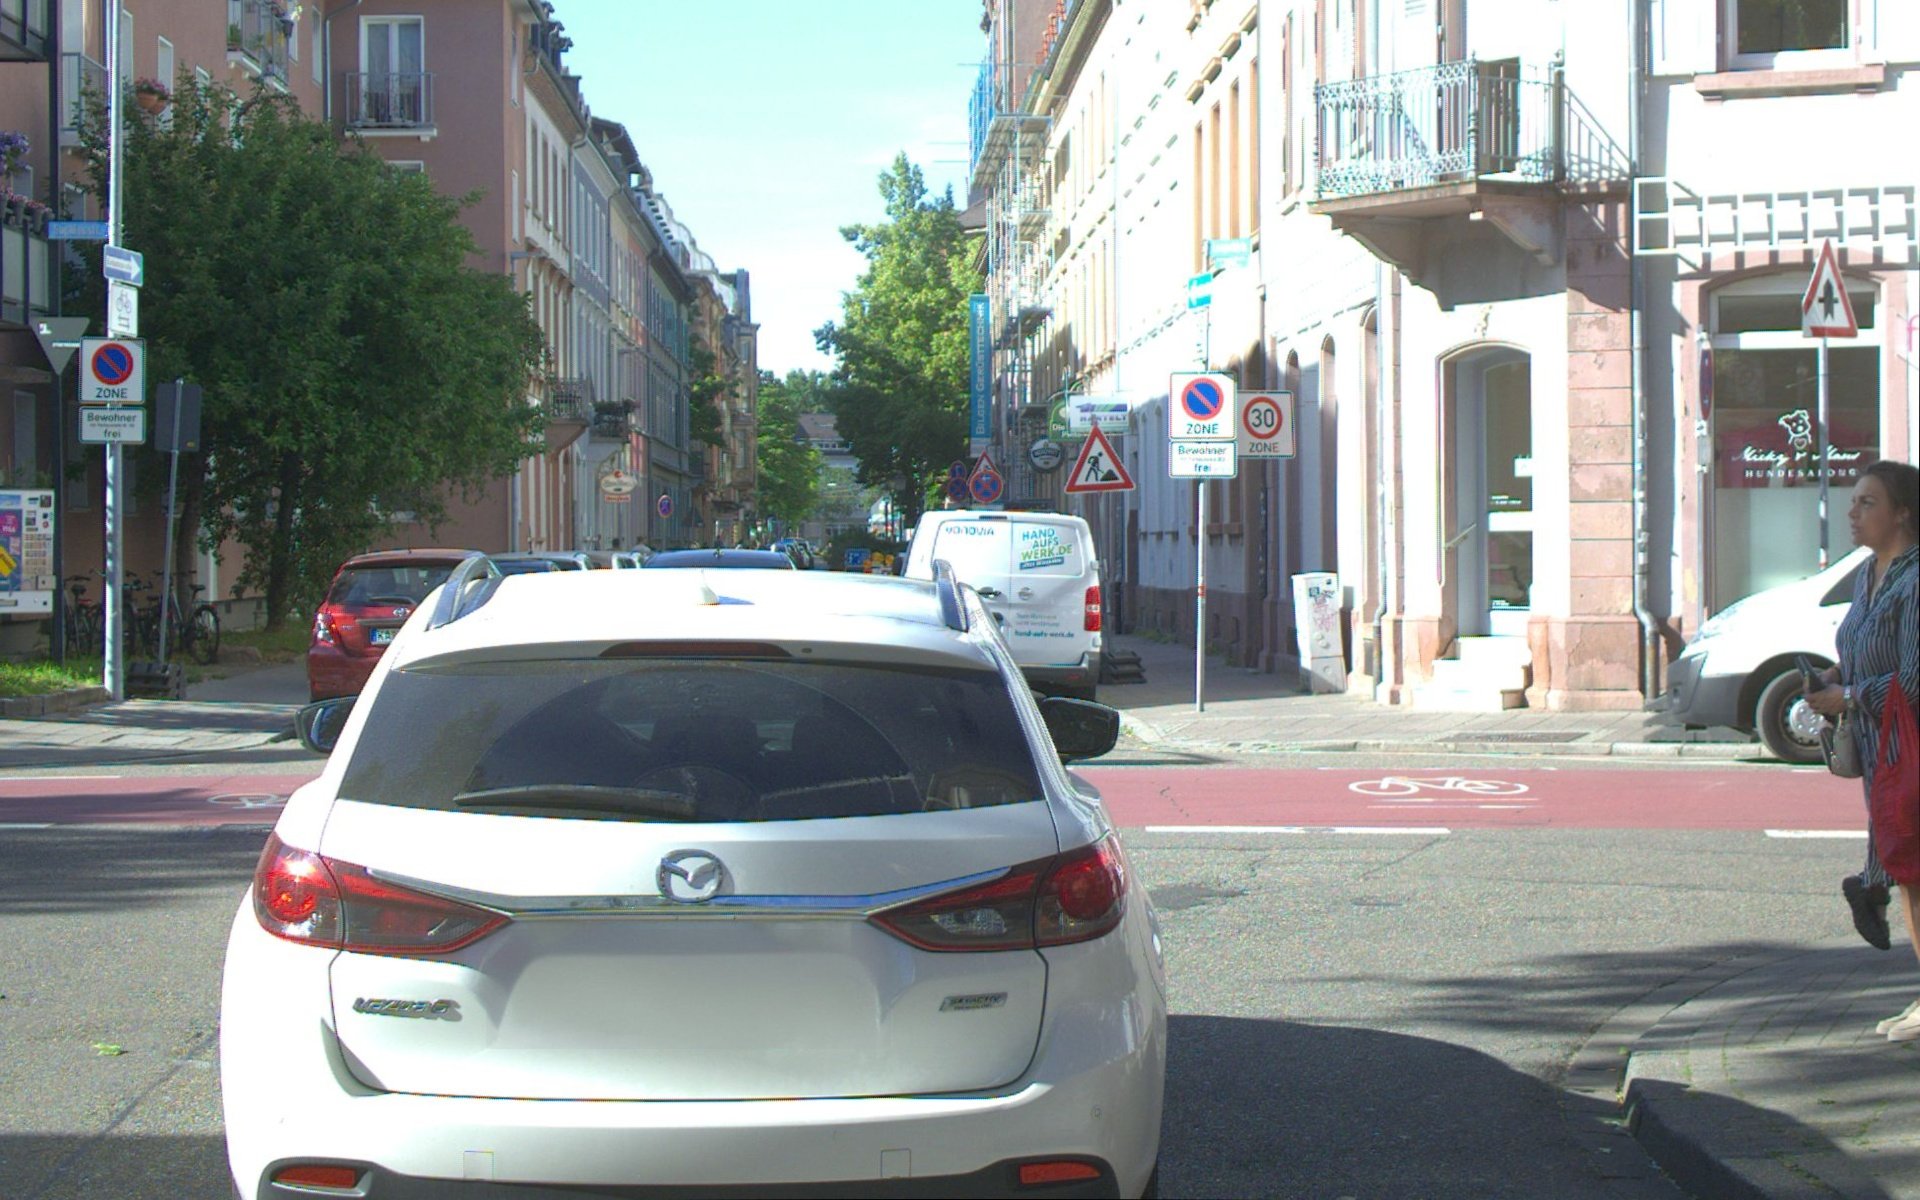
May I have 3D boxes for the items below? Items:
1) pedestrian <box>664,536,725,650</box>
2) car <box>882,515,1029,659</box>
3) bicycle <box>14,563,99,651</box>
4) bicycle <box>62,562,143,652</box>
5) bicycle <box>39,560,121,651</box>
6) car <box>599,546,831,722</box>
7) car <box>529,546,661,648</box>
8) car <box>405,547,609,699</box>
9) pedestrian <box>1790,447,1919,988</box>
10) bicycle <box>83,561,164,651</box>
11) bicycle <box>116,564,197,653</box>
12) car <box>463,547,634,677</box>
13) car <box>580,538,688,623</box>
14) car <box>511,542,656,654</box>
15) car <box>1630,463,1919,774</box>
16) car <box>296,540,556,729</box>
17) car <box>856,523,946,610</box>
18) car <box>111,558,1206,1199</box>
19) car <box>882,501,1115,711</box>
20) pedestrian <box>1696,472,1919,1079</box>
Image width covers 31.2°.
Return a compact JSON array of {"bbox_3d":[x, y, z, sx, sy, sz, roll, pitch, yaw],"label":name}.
[{"bbox_3d":[-3.800,-0.107,49.173,0.733,1.608,0.816,-1,1,-13],"label":"pedestrian"},{"bbox_3d":[-0.077,-0.207,46.334,1.894,1.853,3.995,0,1,-1],"label":"car"},{"bbox_3d":[-10.733,0.077,40.830,1.215,1.032,0.290,1,1,38],"label":"bicycle"},{"bbox_3d":[-10.328,0.075,41.383,1.215,1.067,0.253,1,1,38],"label":"bicycle"},{"bbox_3d":[-10.526,0.059,41.120,1.215,1.068,0.265,1,1,38],"label":"bicycle"},{"bbox_3d":[-2.053,0.240,29.849,1.760,1.405,4.328,0,1,-1],"label":"car"},{"bbox_3d":[-5.528,-0.074,52.355,1.653,1.495,3.763,0,1,-1],"label":"car"},{"bbox_3d":[-4.705,0.197,36.186,1.653,1.495,4.080,0,1,-1],"label":"car"},{"bbox_3d":[3.310,0.376,11.627,0.749,1.758,0.831,-1,0,-1],"label":"pedestrian"},{"bbox_3d":[-10.136,0.066,41.630,1.215,1.068,0.253,1,1,38],"label":"bicycle"},{"bbox_3d":[-9.766,0.096,41.775,1.218,1.068,0.253,1,1,38],"label":"bicycle"},{"bbox_3d":[-4.922,0.111,41.541,1.653,1.495,3.763,0,1,-1],"label":"car"},{"bbox_3d":[-5.899,-0.381,62.528,1.653,1.495,3.763,0,1,-1],"label":"car"},{"bbox_3d":[-5.208,-0.055,47.905,1.653,1.495,3.763,0,1,-1],"label":"car"},{"bbox_3d":[7.004,0.102,22.072,5.015,1.939,2.049,0,1,22],"label":"car"},{"bbox_3d":[-4.617,0.252,30.204,1.685,1.495,3.807,-2,1,-1],"label":"car"},{"bbox_3d":[-1.280,-0.741,75.095,1.894,1.853,3.995,0,1,-1],"label":"car"},{"bbox_3d":[-0.531,0.644,7.756,1.831,1.452,3.962,0,1,-1],"label":"car"},{"bbox_3d":[0.296,0.013,33.880,1.894,1.853,5.015,2,1,-3],"label":"car"},{"bbox_3d":[2.619,0.441,9.488,0.844,1.568,0.846,-5,0,-1],"label":"pedestrian"}]
